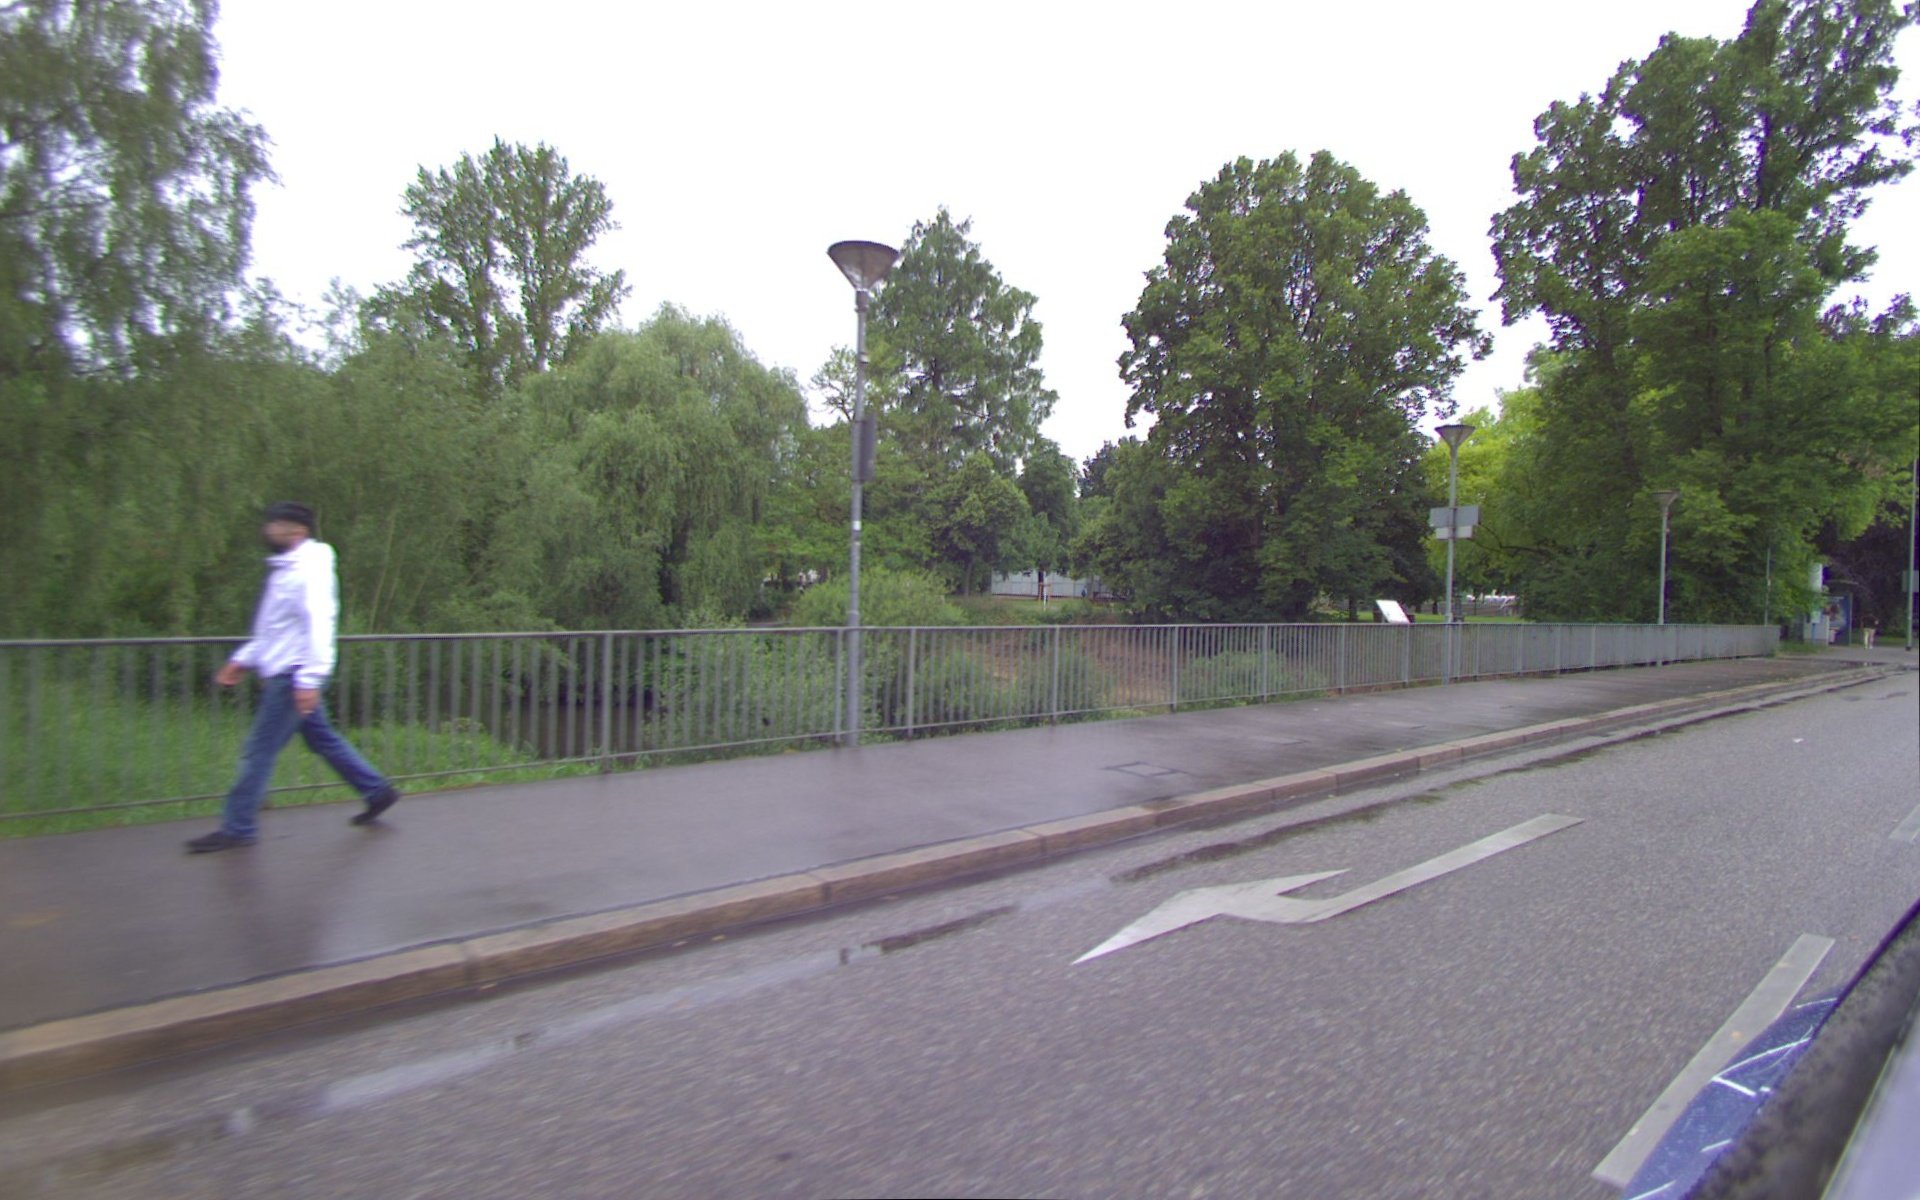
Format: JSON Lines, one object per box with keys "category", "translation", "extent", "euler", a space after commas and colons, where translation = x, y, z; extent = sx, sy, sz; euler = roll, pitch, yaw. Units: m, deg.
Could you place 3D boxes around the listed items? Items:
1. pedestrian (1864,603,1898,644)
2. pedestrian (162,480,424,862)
{"category": "pedestrian", "translation": [39.375, 1.000, 43.269], "extent": [1.147, 1.696, 0.849], "euler": [1, 3, -41]}
{"category": "pedestrian", "translation": [-3.515, 0.322, 5.343], "extent": [1.042, 1.774, 0.781], "euler": [1, 1, -41]}
